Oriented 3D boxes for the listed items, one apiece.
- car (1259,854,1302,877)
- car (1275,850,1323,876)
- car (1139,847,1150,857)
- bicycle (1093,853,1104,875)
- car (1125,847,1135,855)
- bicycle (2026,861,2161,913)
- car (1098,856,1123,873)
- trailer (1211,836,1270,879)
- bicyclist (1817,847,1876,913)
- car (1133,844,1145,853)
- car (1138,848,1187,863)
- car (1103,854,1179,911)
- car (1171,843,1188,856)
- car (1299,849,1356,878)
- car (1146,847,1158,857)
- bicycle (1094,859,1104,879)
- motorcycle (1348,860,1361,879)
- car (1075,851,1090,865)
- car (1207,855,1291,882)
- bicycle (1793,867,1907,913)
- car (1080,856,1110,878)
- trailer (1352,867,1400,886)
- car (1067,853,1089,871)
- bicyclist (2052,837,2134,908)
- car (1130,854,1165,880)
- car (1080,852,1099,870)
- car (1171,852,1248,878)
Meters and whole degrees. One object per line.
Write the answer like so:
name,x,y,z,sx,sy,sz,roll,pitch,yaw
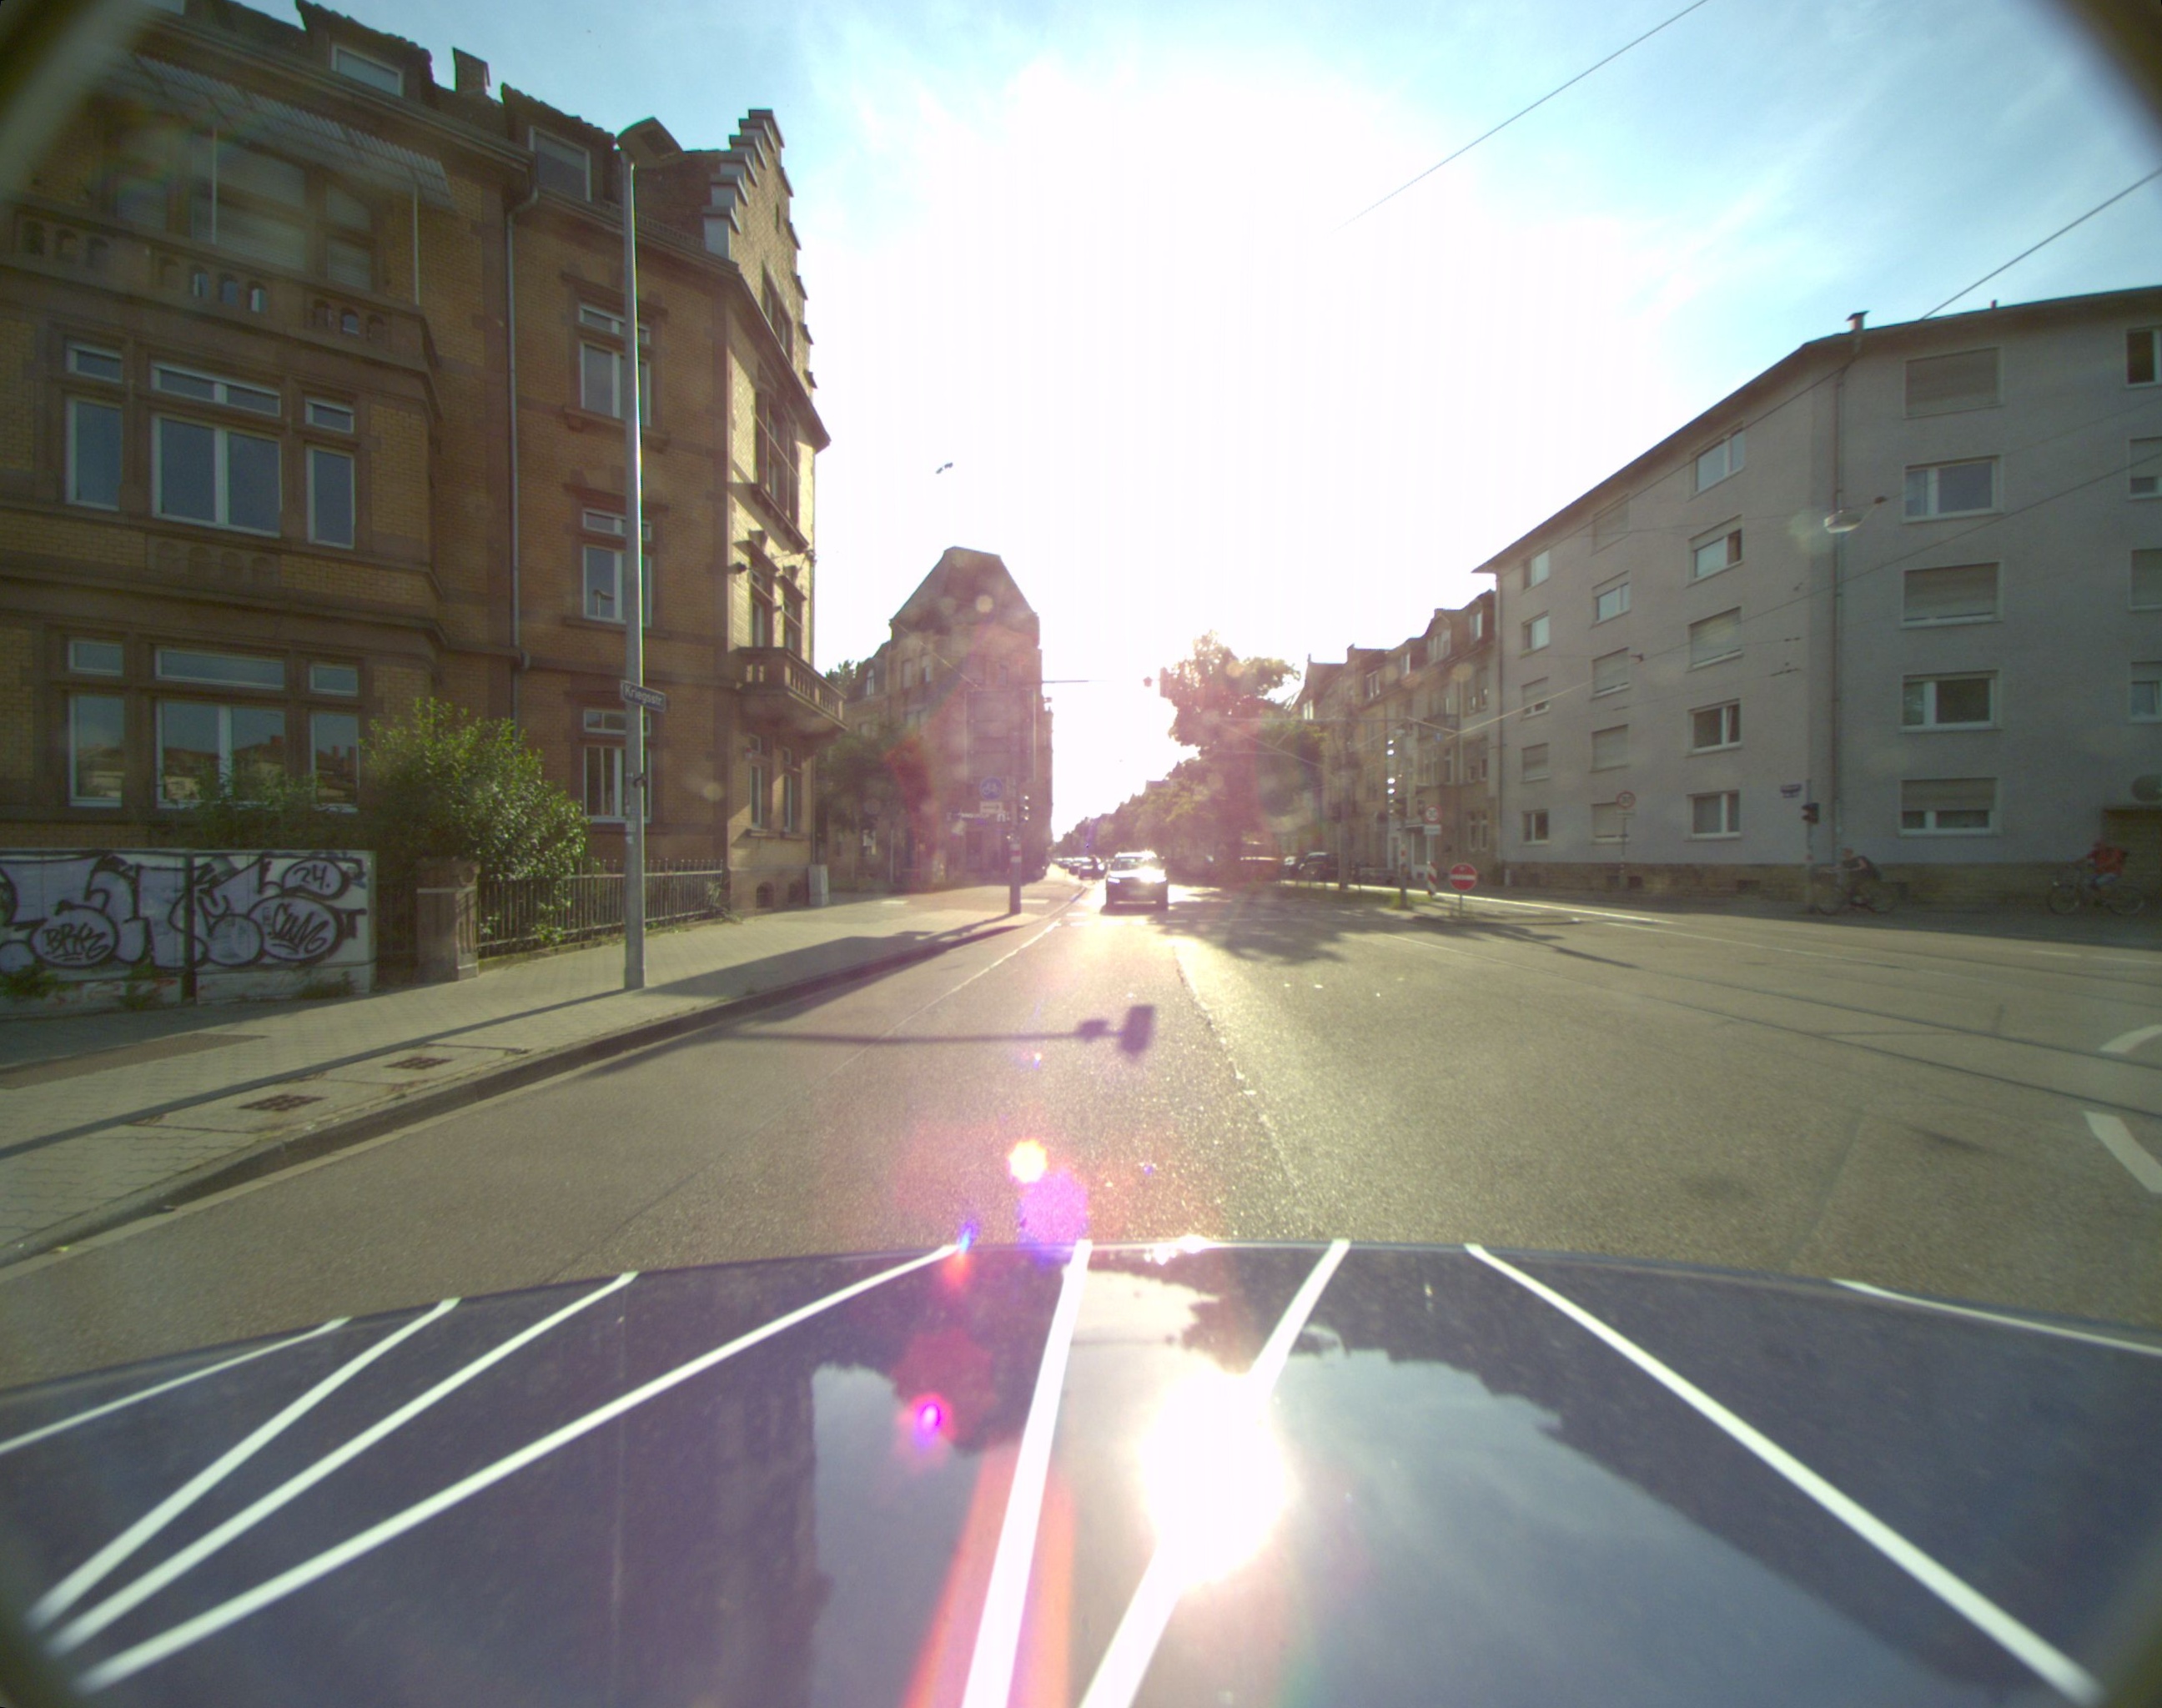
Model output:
car,15.967,0.888,61.073,2.170,1.739,4.610,-1,0,0
car,15.946,0.641,55.870,2.170,1.739,4.610,-1,0,0
car,13.129,-0.464,157.929,1.998,2.002,4.000,-1,0,1
bicycle,1.038,0.565,44.660,0.574,1.290,0.688,-1,0,5
car,12.359,-0.834,192.068,1.999,2.002,3.999,-1,0,-3
bicycle,24.207,0.791,18.136,1.976,1.196,0.736,-1,0,19
car,2.851,0.987,74.362,1.999,1.564,3.999,-1,0,-3
trailer,9.109,0.215,43.259,2.859,2.378,1.726,-1,0,29
bicyclist,19.566,0.651,19.433,0.772,1.633,0.795,0,2,18
car,13.012,-1.249,170.542,1.999,2.002,3.999,-1,0,-3
car,8.057,0.156,75.463,4.260,1.414,2.176,-1,0,39
car,1.637,0.751,21.950,1.840,1.472,4.000,0,0,0
car,15.020,-0.666,115.839,1.999,2.002,3.999,-1,0,-2
car,15.824,0.616,49.087,2.170,1.739,4.718,-1,0,0
car,13.640,-0.359,146.654,1.998,2.002,4.000,-1,0,1
bicycle,1.041,0.878,44.708,0.484,1.183,1.340,-1,0,5
motorcycle,16.285,0.913,45.258,0.636,1.074,1.736,-1,0,22
car,0.188,0.575,114.708,1.999,2.002,3.999,0,0,-2
car,8.827,0.723,39.991,3.942,1.352,1.676,0,0,34
bicycle,19.600,0.897,19.421,1.912,1.104,0.736,1,0,19
car,1.001,0.956,56.644,1.840,1.494,4.265,-1,0,-4
trailer,16.603,1.272,42.854,1.444,0.891,2.879,-4,0,-2
car,-0.306,0.776,76.567,1.999,1.772,3.999,0,0,-3
bicyclist,24.115,0.433,18.120,0.852,1.632,0.815,-1,0,18
car,4.175,0.783,47.964,1.998,1.564,4.001,-1,0,2
car,0.965,0.779,87.519,1.999,2.002,3.999,0,0,-2
car,8.634,0.691,51.239,4.704,1.680,2.177,0,0,40
